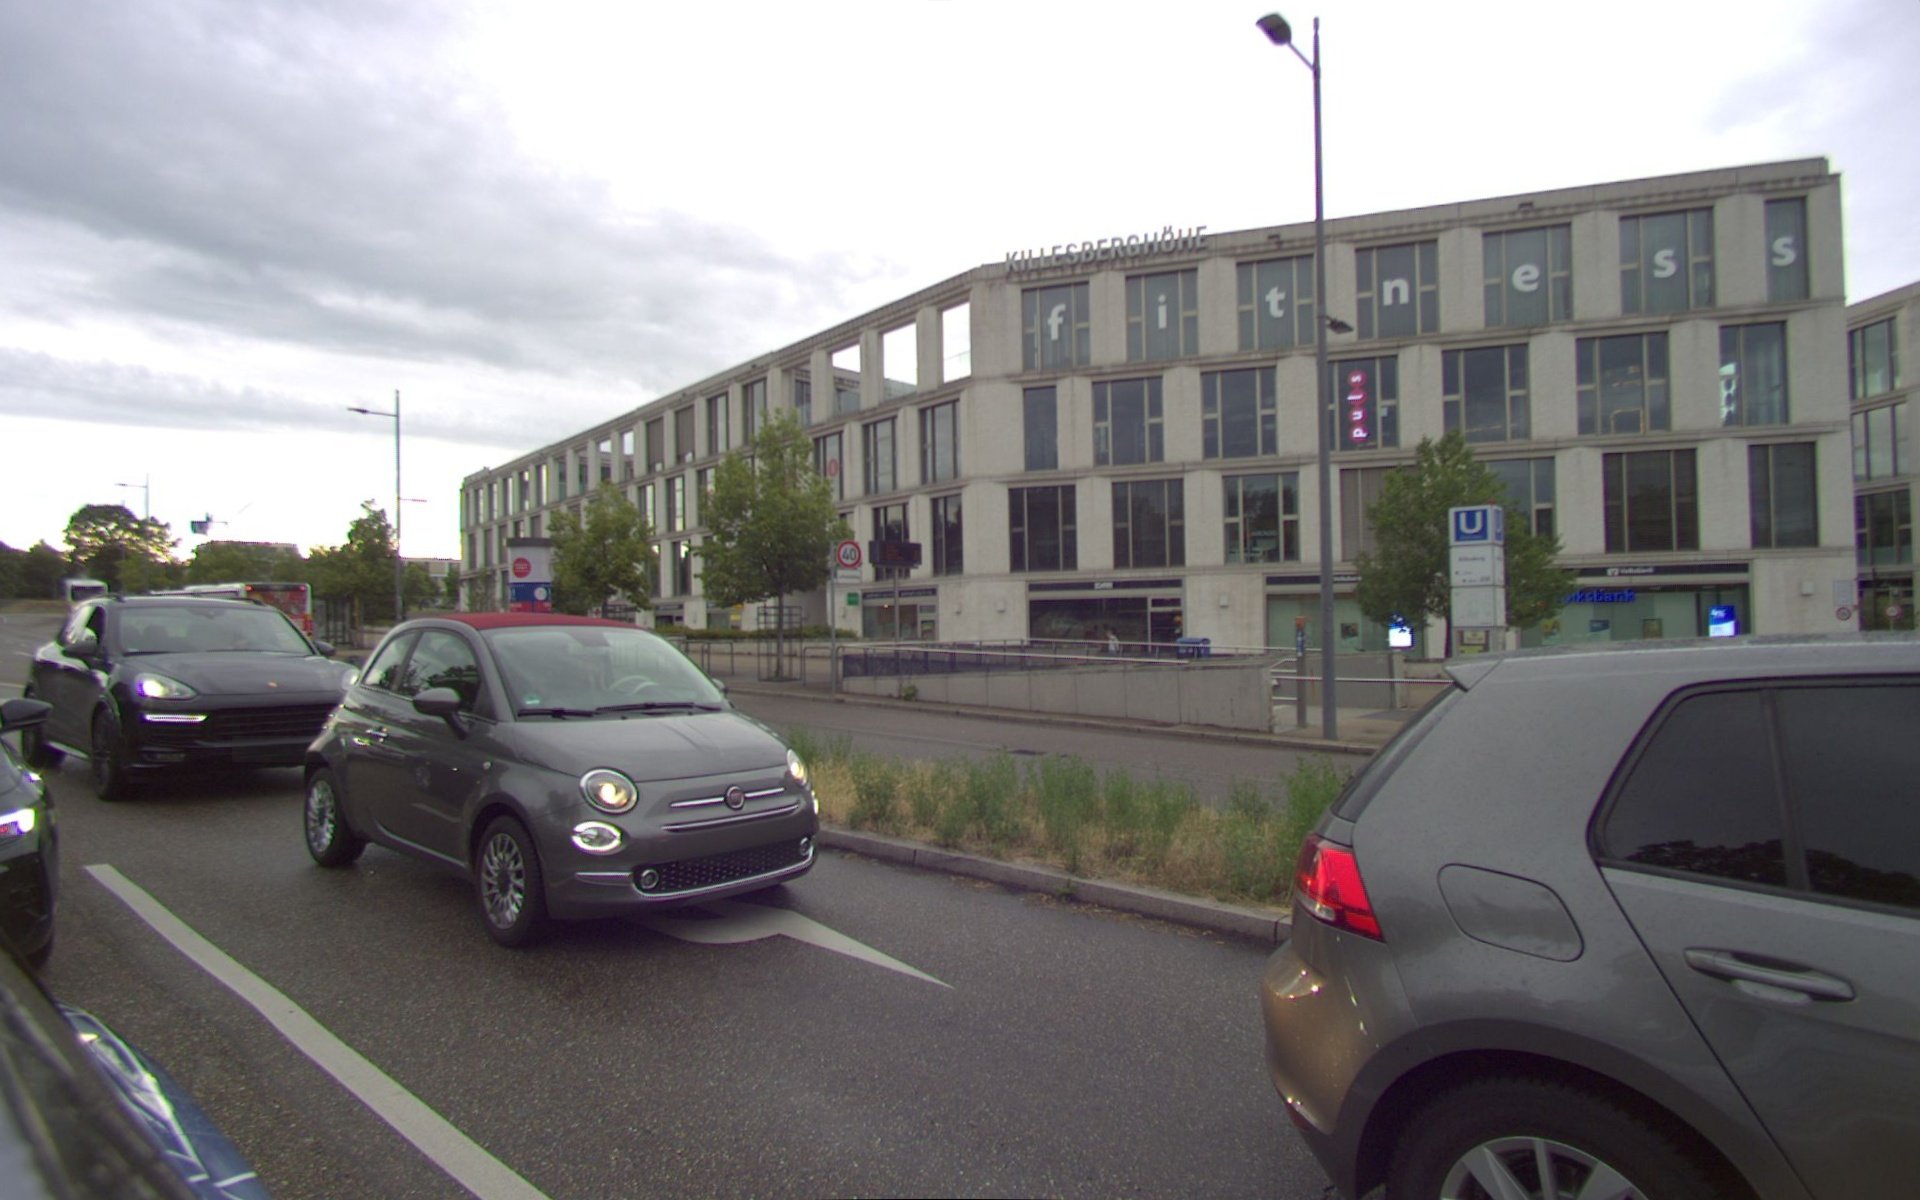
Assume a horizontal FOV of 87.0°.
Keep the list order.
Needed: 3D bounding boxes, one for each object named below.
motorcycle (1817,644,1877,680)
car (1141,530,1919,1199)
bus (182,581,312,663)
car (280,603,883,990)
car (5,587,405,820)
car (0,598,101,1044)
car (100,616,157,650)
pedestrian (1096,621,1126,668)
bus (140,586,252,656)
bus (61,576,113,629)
[{"bbox_3d":[20.423,1.418,23.312,0.517,0.746,1.098,-1,0,9],"label":"motorcycle"},{"bbox_3d":[2.619,0.649,1.423,4.374,1.492,1.797,-1,-2,41],"label":"car"},{"bbox_3d":[-31.138,0.911,43.981,9.206,3.236,2.723,-1,0,43],"label":"bus"},{"bbox_3d":[-2.251,0.794,5.661,3.502,1.492,1.611,-1,-1,39],"label":"car"},{"bbox_3d":[-7.210,0.784,9.479,4.612,1.671,1.910,-1,-1,39],"label":"car"},{"bbox_3d":[-5.421,0.763,4.414,4.766,1.476,1.877,-1,0,41],"label":"car"},{"bbox_3d":[-47.167,1.823,57.385,3.998,1.800,1.843,-1,0,41],"label":"car"},{"bbox_3d":[5.257,1.533,35.259,0.907,1.617,0.760,0,-1,18],"label":"pedestrian"},{"bbox_3d":[-38.165,0.979,50.388,9.911,3.205,2.658,-1,0,42],"label":"bus"},{"bbox_3d":[-76.545,0.252,88.992,2.717,4.185,19.383,-1,0,-39],"label":"bus"}]
